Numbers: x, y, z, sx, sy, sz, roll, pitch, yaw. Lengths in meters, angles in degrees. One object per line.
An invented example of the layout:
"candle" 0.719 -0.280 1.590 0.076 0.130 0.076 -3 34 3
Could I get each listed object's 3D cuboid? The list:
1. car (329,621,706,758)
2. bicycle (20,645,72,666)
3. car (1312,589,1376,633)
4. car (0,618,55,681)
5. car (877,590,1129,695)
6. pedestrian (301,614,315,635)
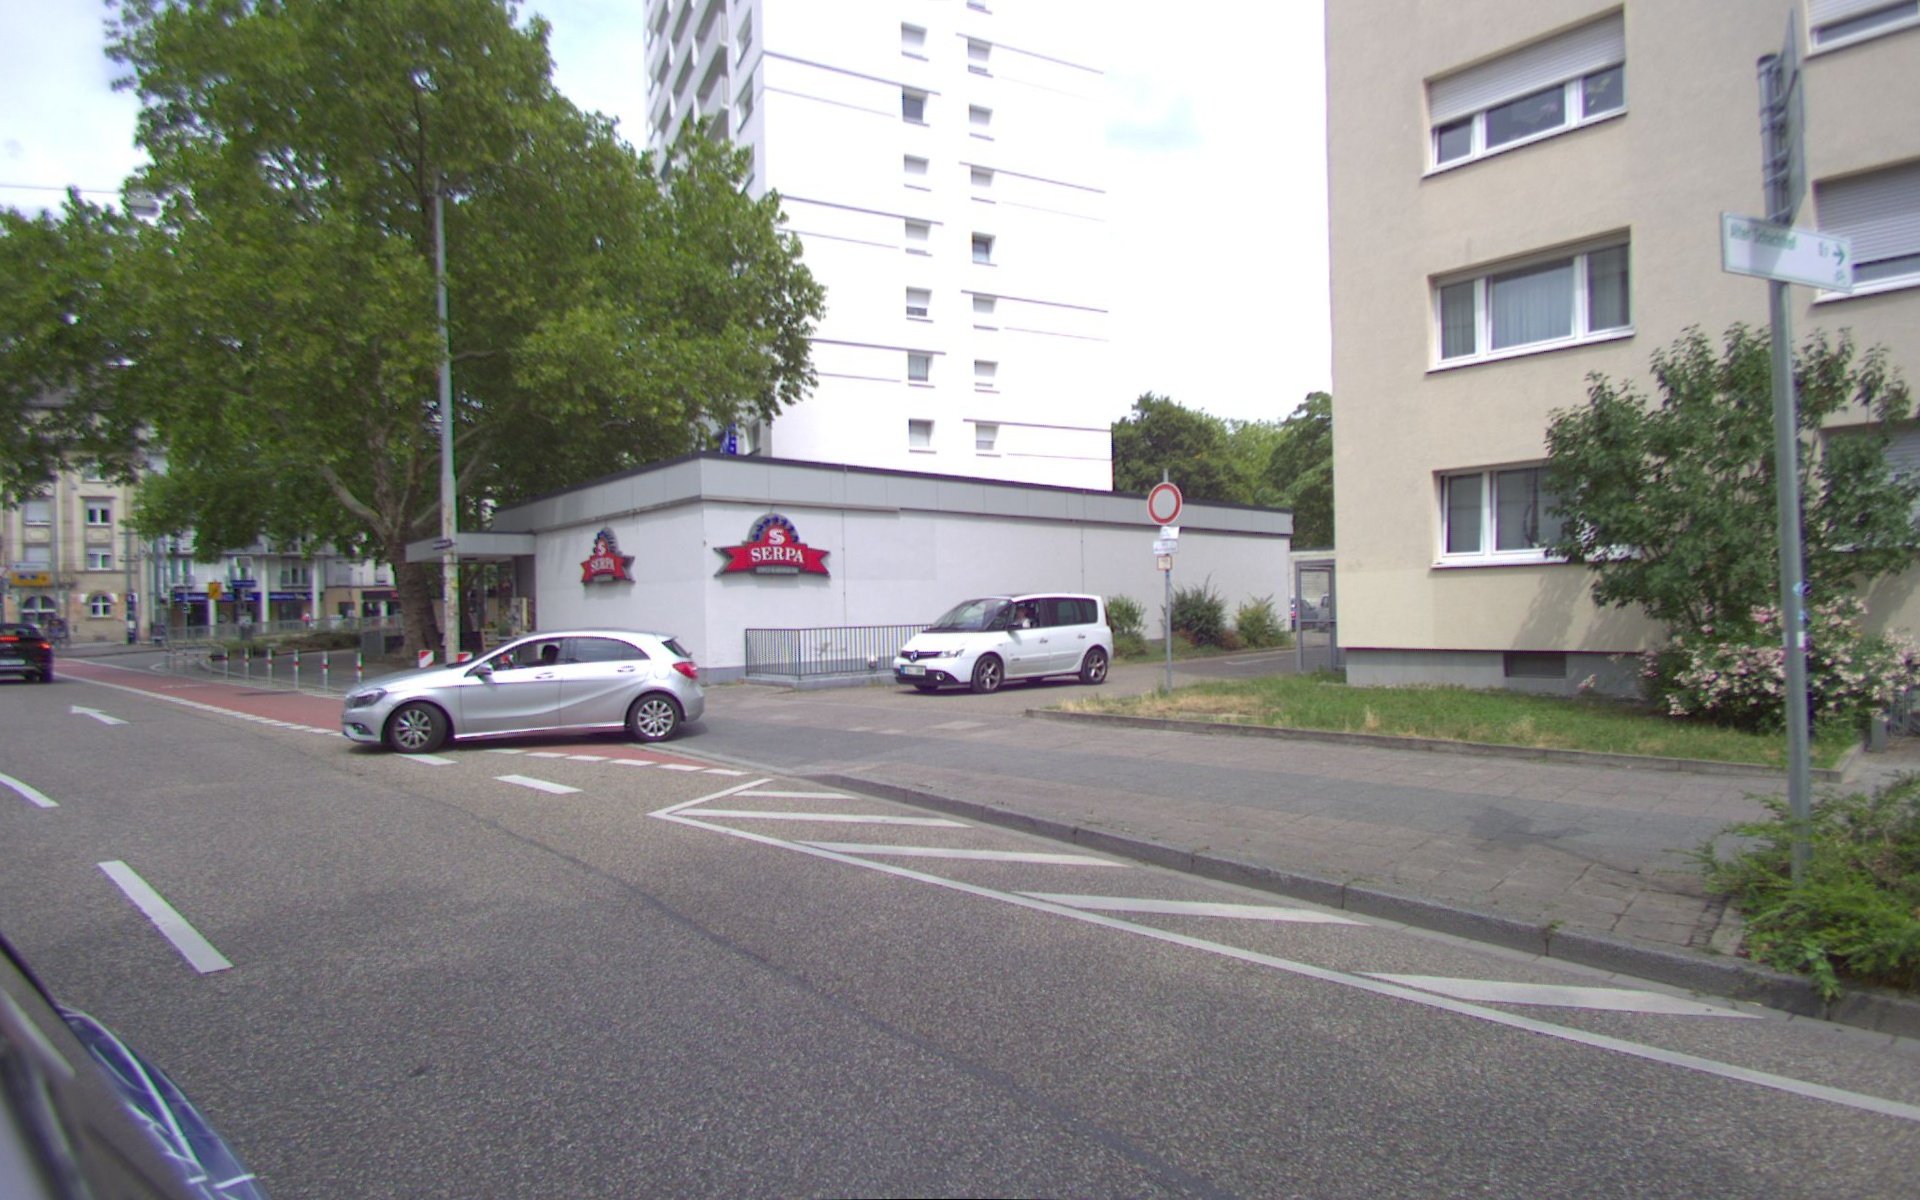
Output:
"car" -5.491 1.035 12.899 4.112 1.462 1.855 0 -2 -24
"bicycle" -48.578 2.957 53.814 1.937 1.103 0.628 1 -3 -31
"car" 16.349 0.451 42.973 1.697 1.749 3.623 -2 -1 34
"car" -24.659 1.274 26.012 3.999 1.530 1.679 -2 -2 42
"car" 0.880 0.731 18.556 4.573 1.699 1.852 0 -2 -41
"pedestrian" -50.307 1.873 78.061 0.825 1.564 0.870 -1 -1 -28
